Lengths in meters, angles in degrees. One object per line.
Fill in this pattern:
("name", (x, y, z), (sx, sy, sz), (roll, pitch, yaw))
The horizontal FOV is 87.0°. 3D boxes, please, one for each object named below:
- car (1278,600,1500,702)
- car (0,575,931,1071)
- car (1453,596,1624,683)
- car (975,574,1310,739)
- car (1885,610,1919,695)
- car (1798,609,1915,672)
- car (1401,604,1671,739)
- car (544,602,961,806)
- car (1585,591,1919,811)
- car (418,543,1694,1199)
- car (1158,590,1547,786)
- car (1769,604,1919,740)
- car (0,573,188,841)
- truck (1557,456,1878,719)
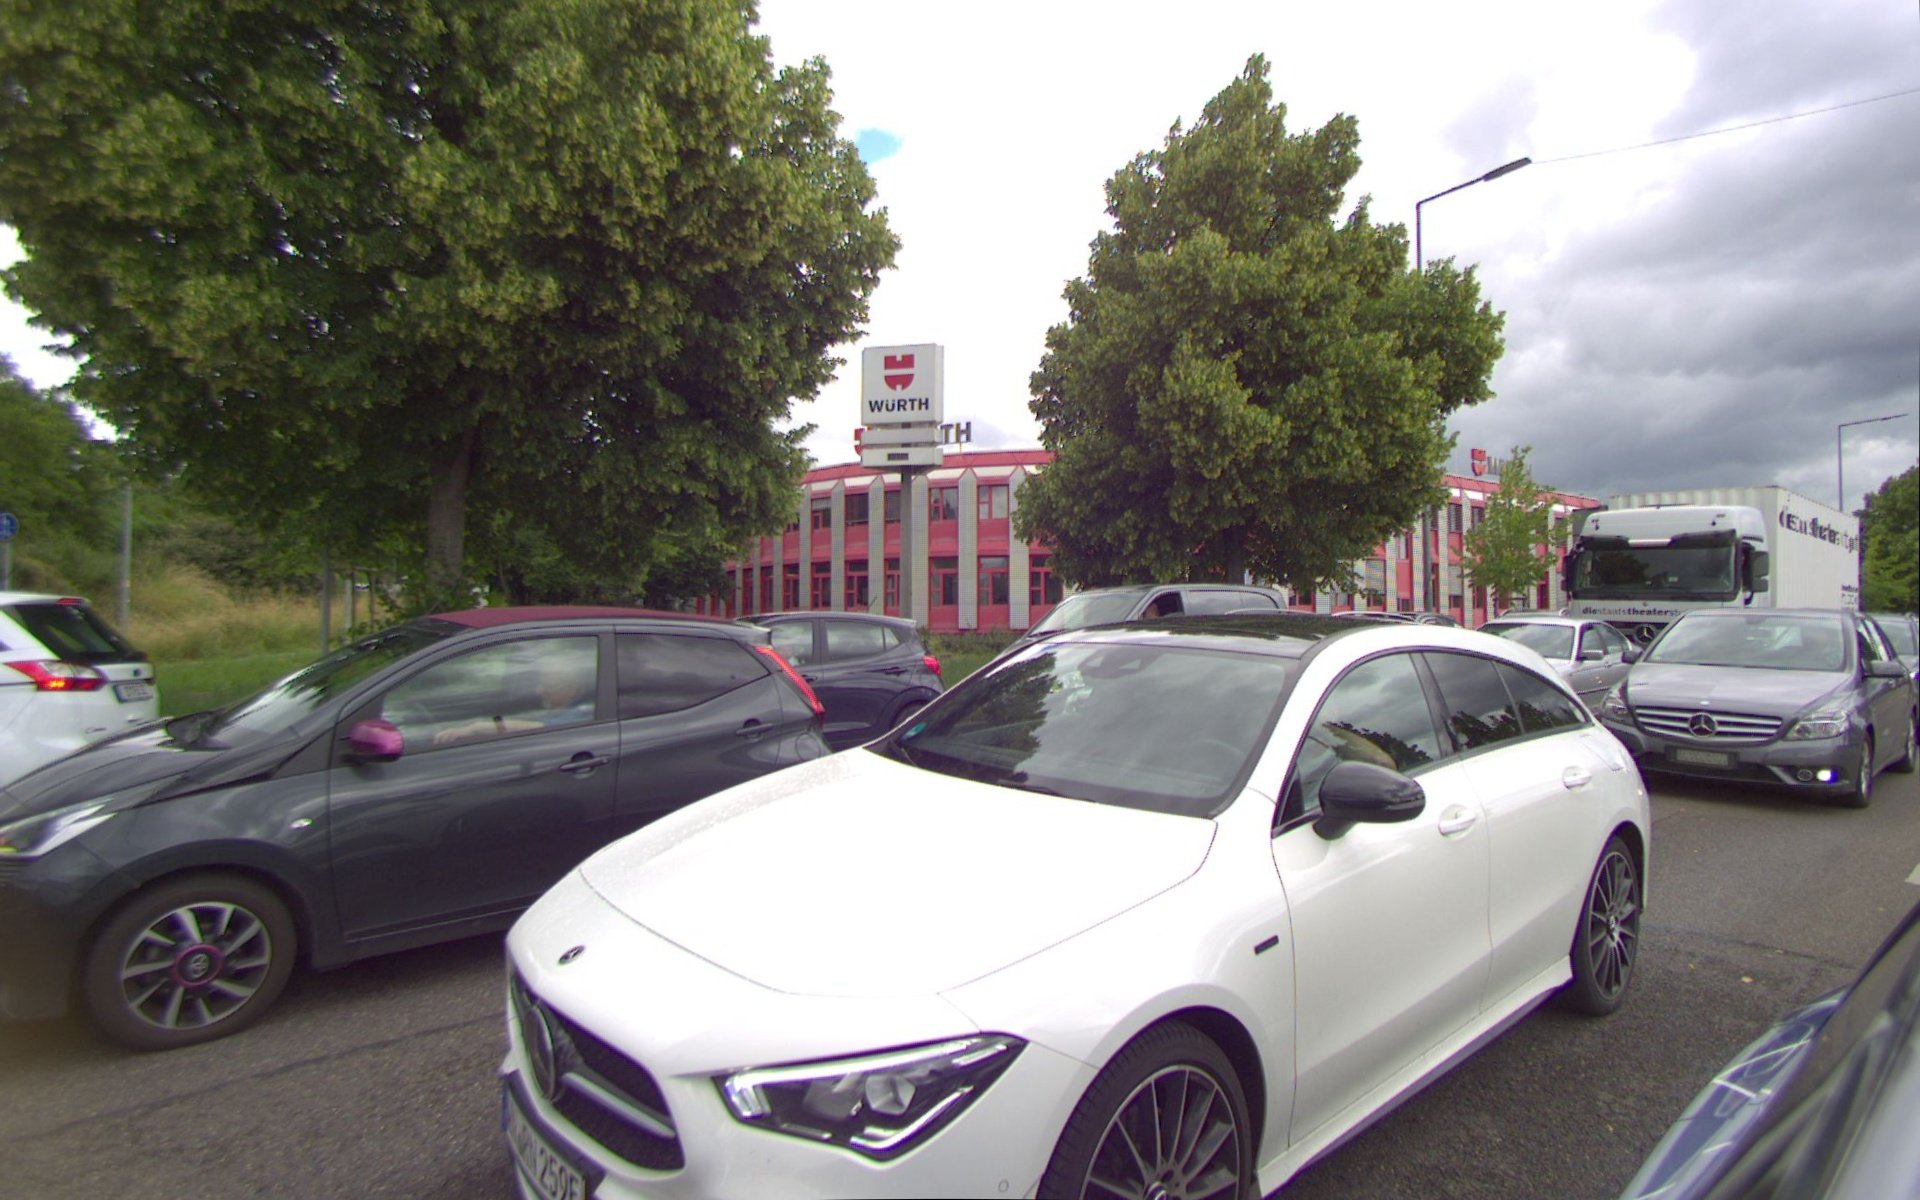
("car", (7.402, 0.819, 17.317), (4.034, 1.536, 1.842), (0, -4, -41))
("car", (-2.103, 0.640, 4.777), (3.815, 1.471, 1.615), (-1, 0, -42))
("car", (12.387, 0.828, 21.577), (4.133, 1.679, 1.863), (1, -3, -41))
("car", (2.508, 0.587, 13.178), (4.592, 1.797, 1.762), (-1, 0, -40))
("car", (18.839, 0.980, 18.914), (3.431, 1.525, 1.825), (2, -1, -39))
("car", (24.297, 1.062, 27.389), (4.299, 1.549, 1.850), (1, -1, -41))
("car", (7.556, 0.791, 13.109), (4.215, 1.400, 1.749), (-1, 1, -41))
("car", (-1.877, 0.806, 9.487), (3.495, 1.525, 1.608), (-1, 0, -34))
("car", (7.236, 0.730, 9.004), (3.976, 1.527, 1.749), (1, -1, -41))
("car", (0.807, 0.660, 3.497), (4.452, 1.525, 1.847), (-1, 1, -41))
("car", (3.963, 0.693, 9.851), (4.279, 1.504, 1.749), (1, -1, -41))
("car", (11.810, 0.840, 12.962), (3.769, 1.512, 1.627), (1, -1, -41))
("car", (-7.928, 0.675, 6.574), (4.277, 1.676, 1.767), (0, -1, -20))
("truck", (14.981, -0.168, 19.559), (10.000, 3.953, 2.808), (0, 0, -40))
